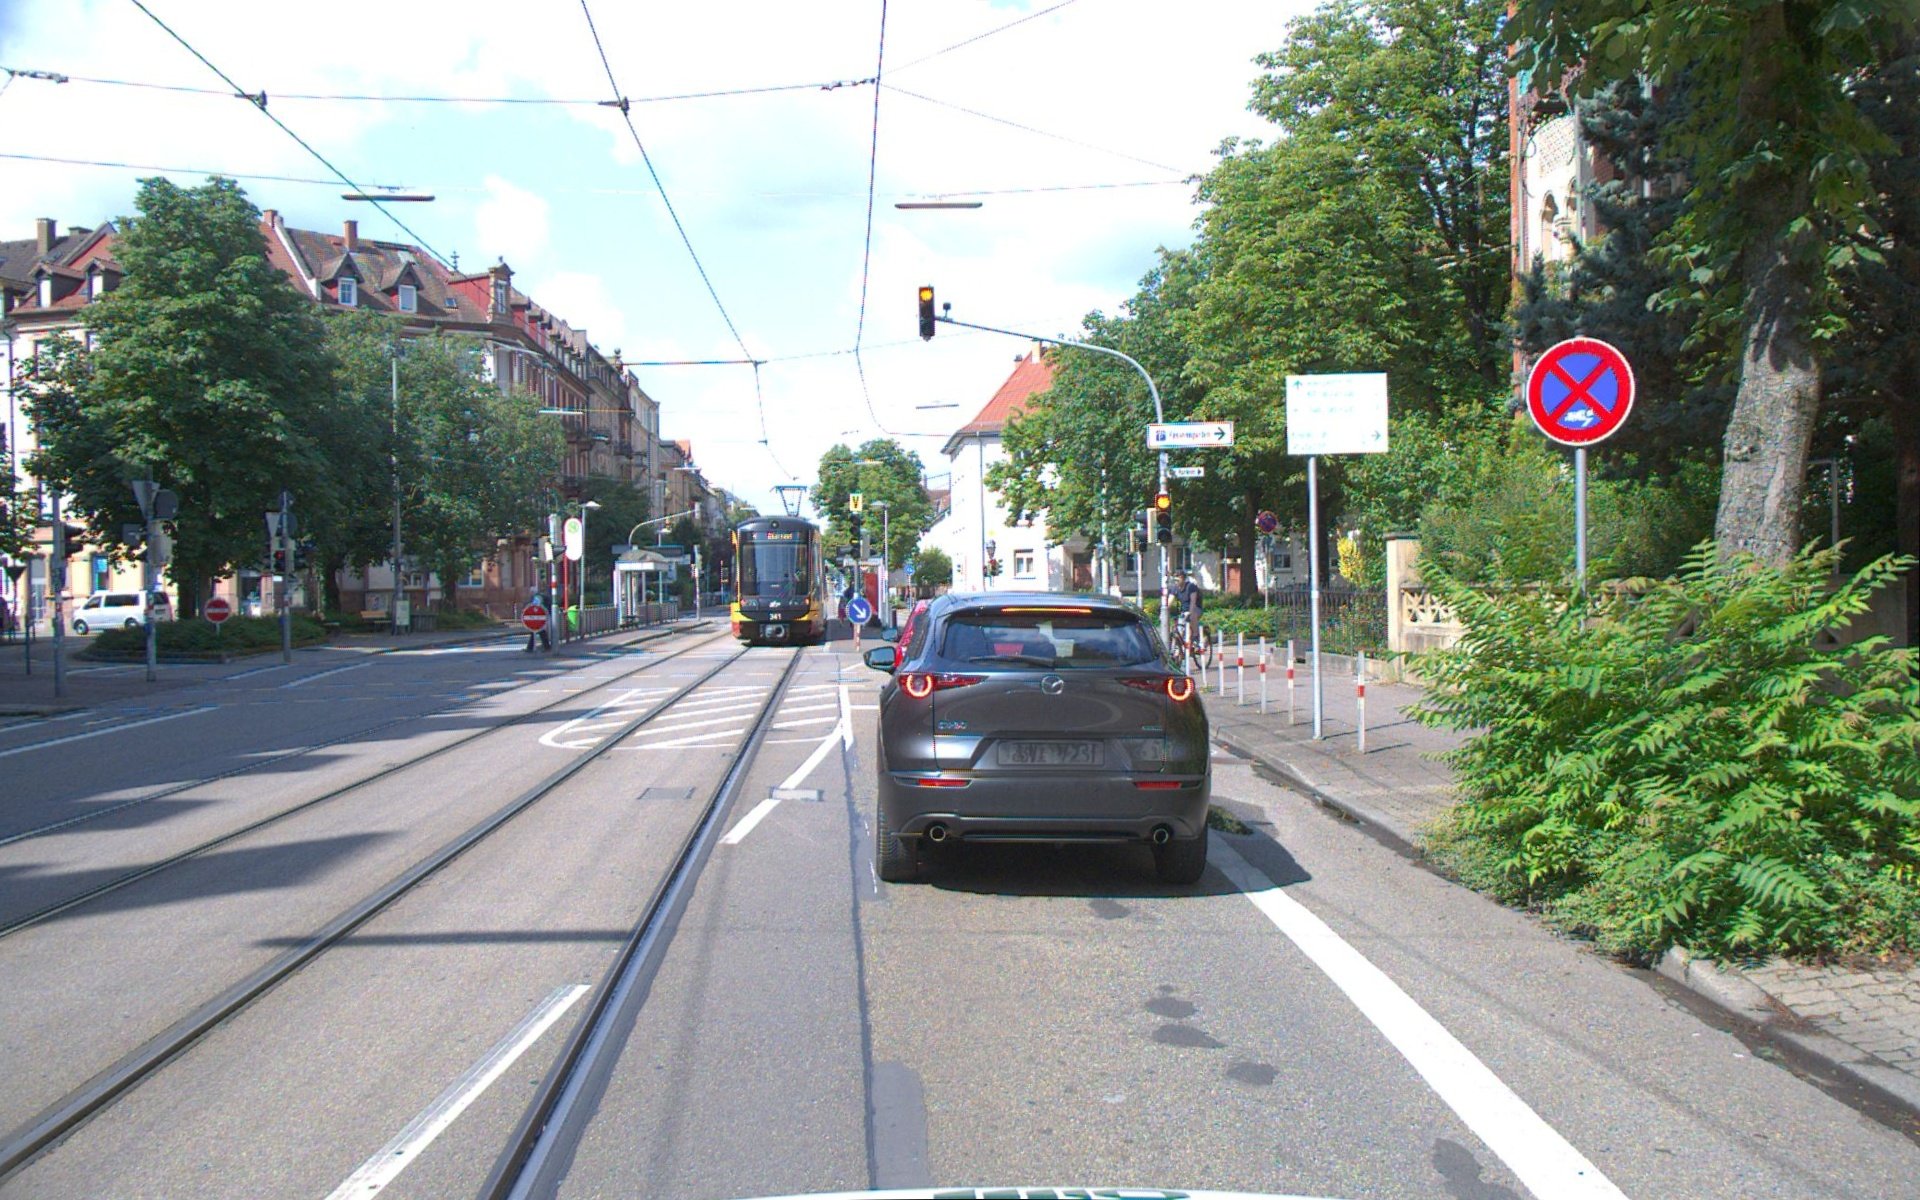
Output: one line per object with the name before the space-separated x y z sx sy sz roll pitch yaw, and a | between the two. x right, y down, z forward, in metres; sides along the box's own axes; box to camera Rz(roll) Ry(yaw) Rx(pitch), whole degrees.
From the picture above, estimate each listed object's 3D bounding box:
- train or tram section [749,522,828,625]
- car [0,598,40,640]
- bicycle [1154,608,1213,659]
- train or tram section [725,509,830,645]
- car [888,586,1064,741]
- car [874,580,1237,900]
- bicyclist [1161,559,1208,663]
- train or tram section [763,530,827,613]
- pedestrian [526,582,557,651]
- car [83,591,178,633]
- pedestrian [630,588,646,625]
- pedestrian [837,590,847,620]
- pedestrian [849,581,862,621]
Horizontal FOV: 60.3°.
train or tram section | -6.591 -1.086 65.089 2.699 3.551 14.395 -1 1 -5
car | -39.671 0.795 66.744 3.906 1.624 2.000 -1 0 -1
bicycle | 3.972 0.588 29.307 0.483 0.838 1.697 -1 0 28
train or tram section | -5.403 -0.776 50.751 2.699 3.551 14.395 -1 1 -5
car | 0.122 0.625 18.638 1.742 1.526 3.999 1 0 -1
car | 0.425 0.668 10.037 1.742 1.526 3.999 1 0 -1
bicyclist | 3.991 0.190 29.403 0.643 1.824 0.609 -1 0 26
train or tram section | -7.803 -1.407 79.454 2.699 3.551 14.395 -1 1 -5
pedestrian | -10.733 0.409 42.408 0.704 1.735 0.821 -1 0 -12
car | -39.604 0.564 78.938 3.906 1.937 1.999 -1 0 23
pedestrian | -12.519 0.252 64.288 0.420 1.423 0.397 -1 0 30
pedestrian | -4.352 0.192 61.012 0.372 1.089 0.474 -1 0 -5
pedestrian | -3.870 0.046 61.232 0.441 1.459 0.474 -1 0 -6
